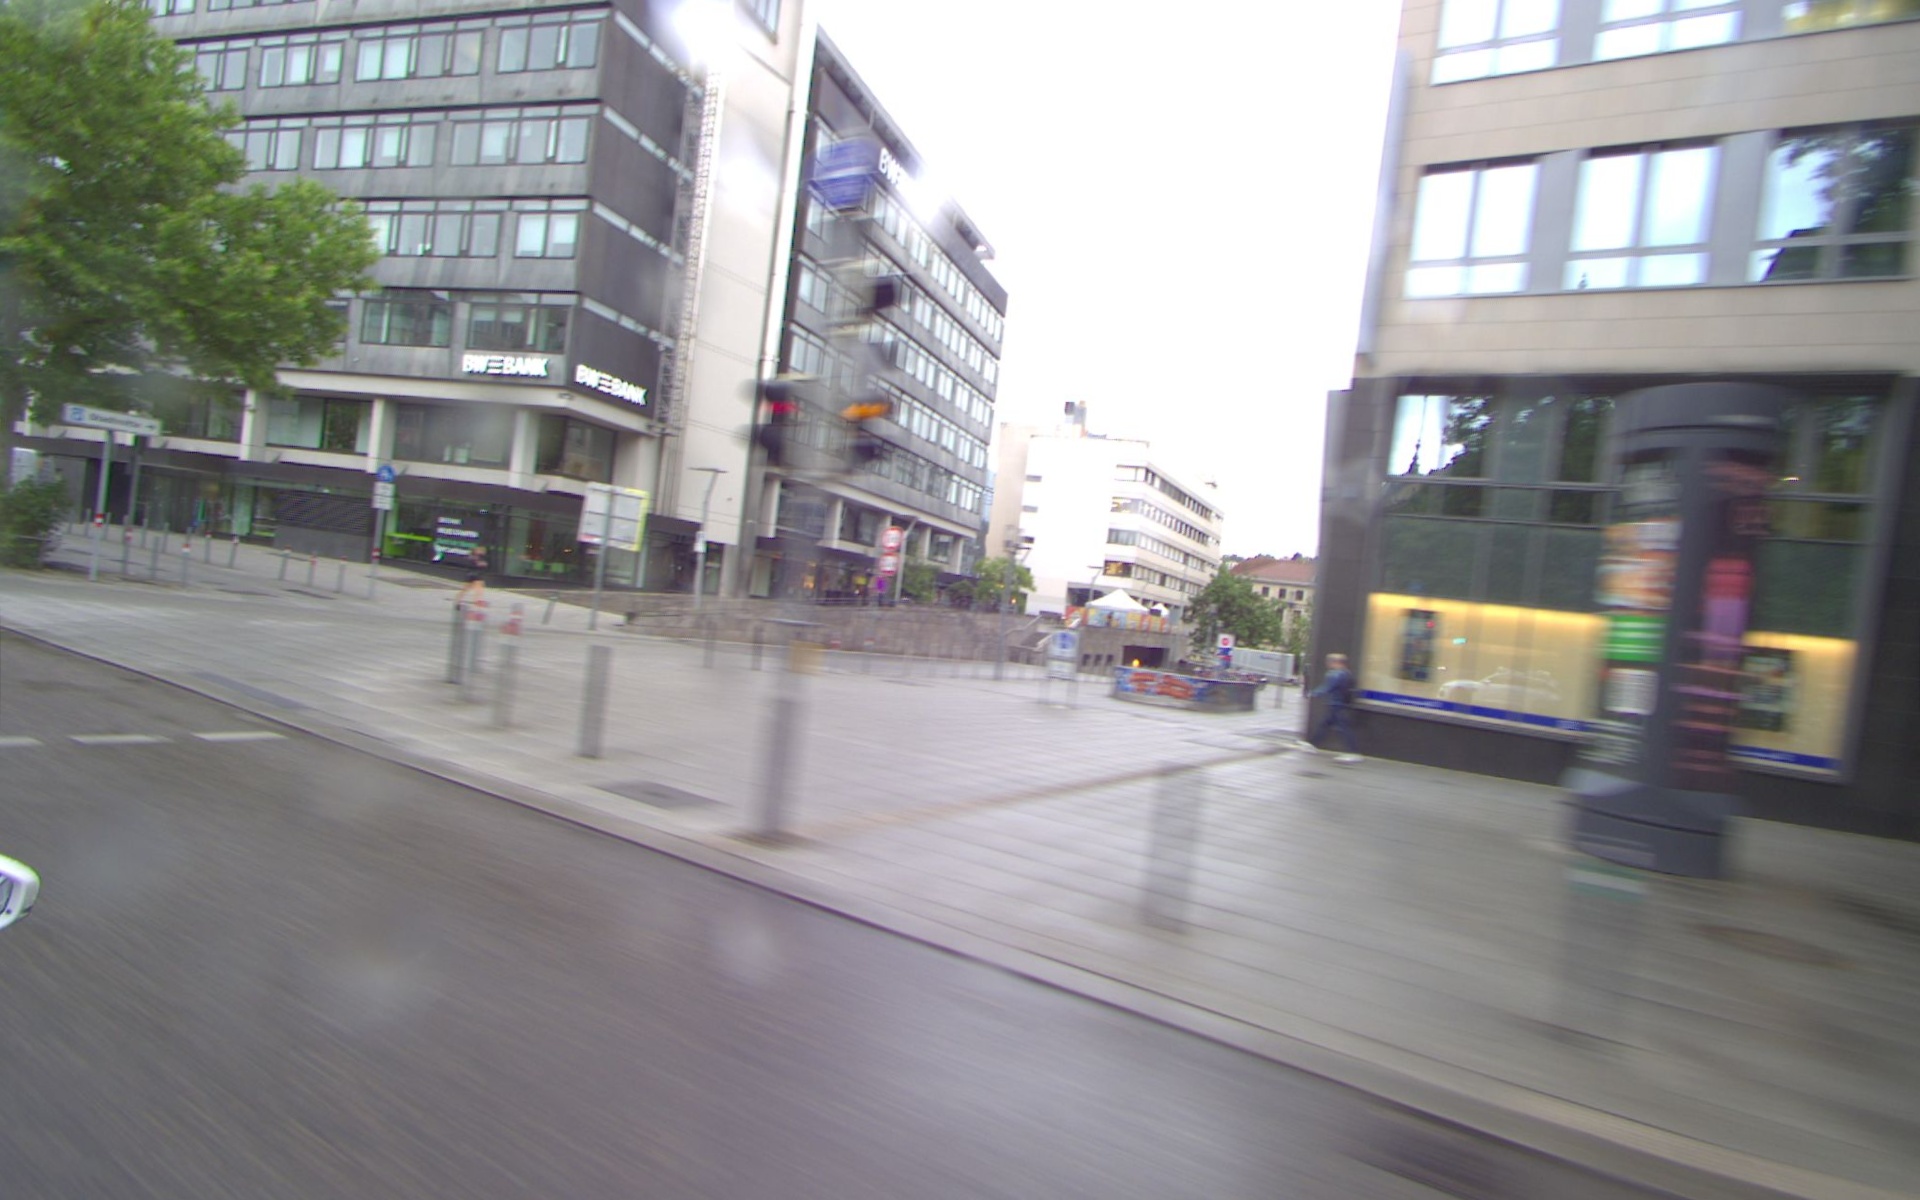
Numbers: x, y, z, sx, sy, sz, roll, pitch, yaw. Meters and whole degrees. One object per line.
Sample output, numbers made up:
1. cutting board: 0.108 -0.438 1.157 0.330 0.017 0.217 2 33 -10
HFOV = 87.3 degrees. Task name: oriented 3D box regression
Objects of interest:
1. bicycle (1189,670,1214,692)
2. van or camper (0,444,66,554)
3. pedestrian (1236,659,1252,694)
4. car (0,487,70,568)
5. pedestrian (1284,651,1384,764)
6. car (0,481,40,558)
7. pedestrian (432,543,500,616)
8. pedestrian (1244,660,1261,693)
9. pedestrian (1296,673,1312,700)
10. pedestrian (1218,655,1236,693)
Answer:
1. bicycle: 13.013 4.367 54.286 1.176 1.052 0.350 6 -1 31
2. van or camper: -25.969 -2.832 24.307 6.023 2.589 2.087 7 -1 -32
3. pedestrian: 17.326 4.649 61.327 0.562 2.038 0.705 7 0 31
4. car: -21.203 -1.723 21.071 3.634 1.565 1.696 8 -1 -39
5. pedestrian: 6.854 1.953 18.449 0.913 1.872 1.263 7 -1 -40
6. car: -23.561 -2.088 22.344 4.229 1.687 1.803 8 -1 -33
7. pedestrian: -12.802 -0.518 26.100 1.165 1.716 0.808 7 -1 10
8. pedestrian: 18.633 4.883 64.146 0.633 2.038 0.705 7 0 30
9. pedestrian: 22.238 5.596 65.050 0.677 1.651 0.683 7 -1 34
10. pedestrian: 14.963 4.173 56.413 0.562 2.038 0.705 7 0 31
